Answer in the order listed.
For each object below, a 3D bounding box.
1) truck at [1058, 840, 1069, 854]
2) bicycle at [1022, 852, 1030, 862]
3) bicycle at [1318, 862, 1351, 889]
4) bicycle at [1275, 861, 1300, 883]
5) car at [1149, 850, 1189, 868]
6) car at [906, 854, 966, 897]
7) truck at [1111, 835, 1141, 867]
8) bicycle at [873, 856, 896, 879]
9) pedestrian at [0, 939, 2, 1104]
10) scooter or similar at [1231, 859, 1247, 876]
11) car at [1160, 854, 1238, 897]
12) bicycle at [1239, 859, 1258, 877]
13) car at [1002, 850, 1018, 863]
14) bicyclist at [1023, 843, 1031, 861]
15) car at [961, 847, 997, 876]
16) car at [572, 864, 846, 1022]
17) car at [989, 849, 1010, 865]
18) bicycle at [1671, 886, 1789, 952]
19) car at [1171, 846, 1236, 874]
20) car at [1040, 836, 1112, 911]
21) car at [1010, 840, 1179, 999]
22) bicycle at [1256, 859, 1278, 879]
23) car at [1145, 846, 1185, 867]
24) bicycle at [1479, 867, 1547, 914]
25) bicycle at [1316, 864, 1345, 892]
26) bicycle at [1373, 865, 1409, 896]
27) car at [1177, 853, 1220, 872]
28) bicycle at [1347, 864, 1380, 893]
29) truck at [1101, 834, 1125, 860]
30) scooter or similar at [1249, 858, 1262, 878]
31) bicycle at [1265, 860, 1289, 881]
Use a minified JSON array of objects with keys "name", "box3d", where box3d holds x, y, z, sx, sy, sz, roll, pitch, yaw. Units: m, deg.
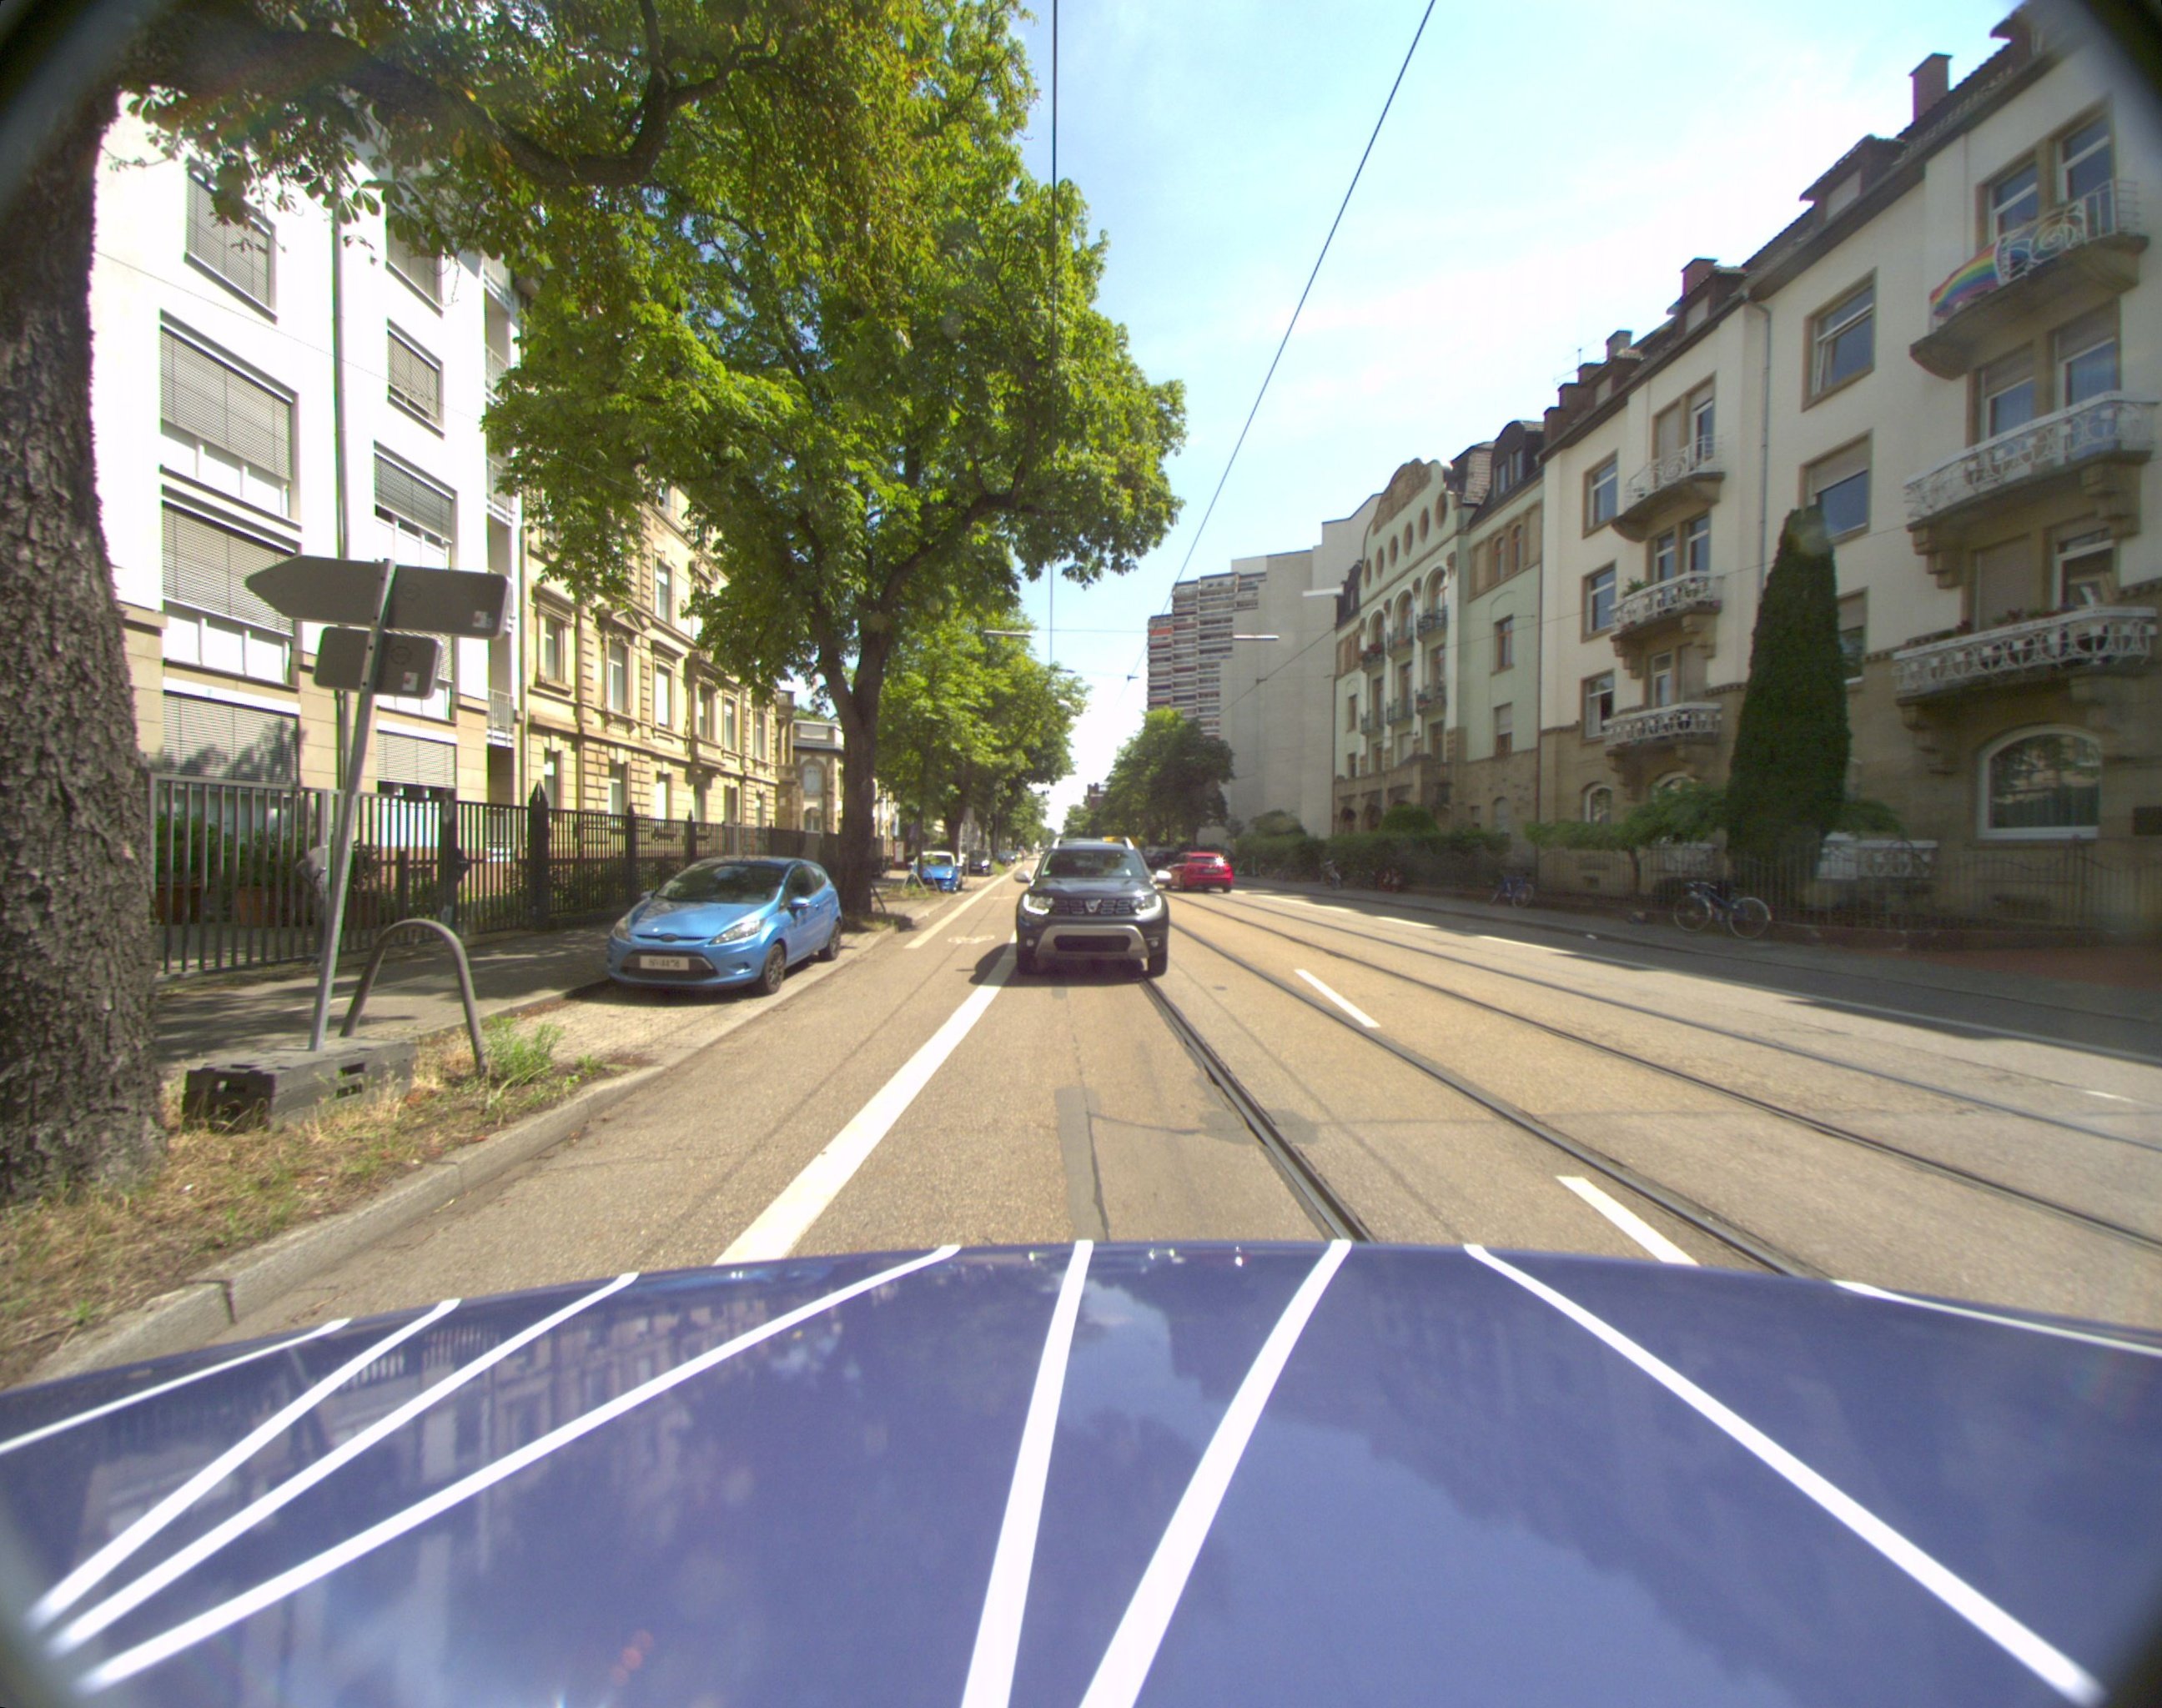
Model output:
[{"name":"truck","box3d":[-4.699,-1.854,206.052,2.792,3.598,8.255,1,0,0]},{"name":"bicycle","box3d":[-5.883,0.300,81.733,0.812,1.089,2.173,0,1,-5]},{"name":"bicycle","box3d":[10.415,0.856,31.256,0.609,1.026,1.771,-3,1,-3]},{"name":"bicycle","box3d":[9.984,0.863,36.755,0.609,0.970,1.771,-3,0,-3]},{"name":"car","box3d":[8.053,0.421,69.647,1.677,1.566,3.692,2,2,45]},{"name":"car","box3d":[-5.199,0.729,27.607,1.696,1.444,3.472,1,0,-4]},{"name":"truck","box3d":[4.317,-0.275,73.794,2.307,2.903,6.513,1,0,-2]},{"name":"bicycle","box3d":[-9.444,0.621,36.526,0.609,1.065,1.980,1,0,-1]},{"name":"pedestrian","box3d":[-6.626,0.568,3.876,0.686,1.787,1.083,1,1,-3]},{"name":"scooter or similar","box3d":[9.510,0.819,45.723,0.407,1.014,1.222,0,1,-19]},{"name":"car","box3d":[4.326,0.731,28.560,1.828,1.405,4.426,2,0,-5]},{"name":"bicycle","box3d":[9.677,0.821,44.013,0.609,0.983,1.707,-3,1,-3]},{"name":"car","box3d":[-8.180,0.284,87.990,1.626,1.395,3.998,3,0,-3]},{"name":"bicyclist","box3d":[-5.799,-0.218,81.743,0.773,2.002,0.807,1,1,-4]},{"name":"car","box3d":[-6.189,0.428,46.477,1.734,1.607,4.082,3,0,-3]},{"name":"car","box3d":[-4.154,0.888,9.193,1.682,1.435,3.719,1,0,-4]},{"name":"car","box3d":[-7.289,0.248,68.393,1.626,1.395,3.821,3,0,-3]},{"name":"bicycle","box3d":[11.368,1.108,13.387,0.411,0.955,1.840,-3,2,-3]},{"name":"car","box3d":[8.753,0.433,54.102,4.596,1.914,1.956,0,1,-40]},{"name":"car","box3d":[-0.200,0.479,21.287,1.753,1.806,4.307,-2,1,-2]},{"name":"car","box3d":[0.050,0.692,10.268,1.753,1.641,4.296,2,0,-3]},{"name":"bicycle","box3d":[9.899,0.804,40.480,0.609,0.983,1.707,-3,1,-3]},{"name":"car","box3d":[8.115,0.227,73.153,4.061,2.030,1.597,0,1,-43]},{"name":"bicycle","box3d":[11.010,0.908,19.431,0.609,1.058,1.771,-3,1,-3]},{"name":"bicycle","box3d":[9.495,0.901,28.879,0.608,0.993,1.778,1,1,33]},{"name":"bicycle","box3d":[10.659,0.888,26.143,0.414,0.960,1.725,-3,1,-3]},{"name":"car","box3d":[9.334,0.669,60.206,1.721,1.445,3.635,1,1,41]},{"name":"bicycle","box3d":[10.392,0.879,27.974,0.465,0.993,1.707,-3,1,-3]},{"name":"truck","box3d":[5.471,-1.197,128.347,2.672,4.156,10.481,1,0,11]},{"name":"scooter or similar","box3d":[9.711,0.763,42.393,0.407,1.113,1.290,0,1,-1]},{"name":"bicycle","box3d":[9.955,0.835,38.605,0.609,0.983,1.707,-3,1,-3]}]
